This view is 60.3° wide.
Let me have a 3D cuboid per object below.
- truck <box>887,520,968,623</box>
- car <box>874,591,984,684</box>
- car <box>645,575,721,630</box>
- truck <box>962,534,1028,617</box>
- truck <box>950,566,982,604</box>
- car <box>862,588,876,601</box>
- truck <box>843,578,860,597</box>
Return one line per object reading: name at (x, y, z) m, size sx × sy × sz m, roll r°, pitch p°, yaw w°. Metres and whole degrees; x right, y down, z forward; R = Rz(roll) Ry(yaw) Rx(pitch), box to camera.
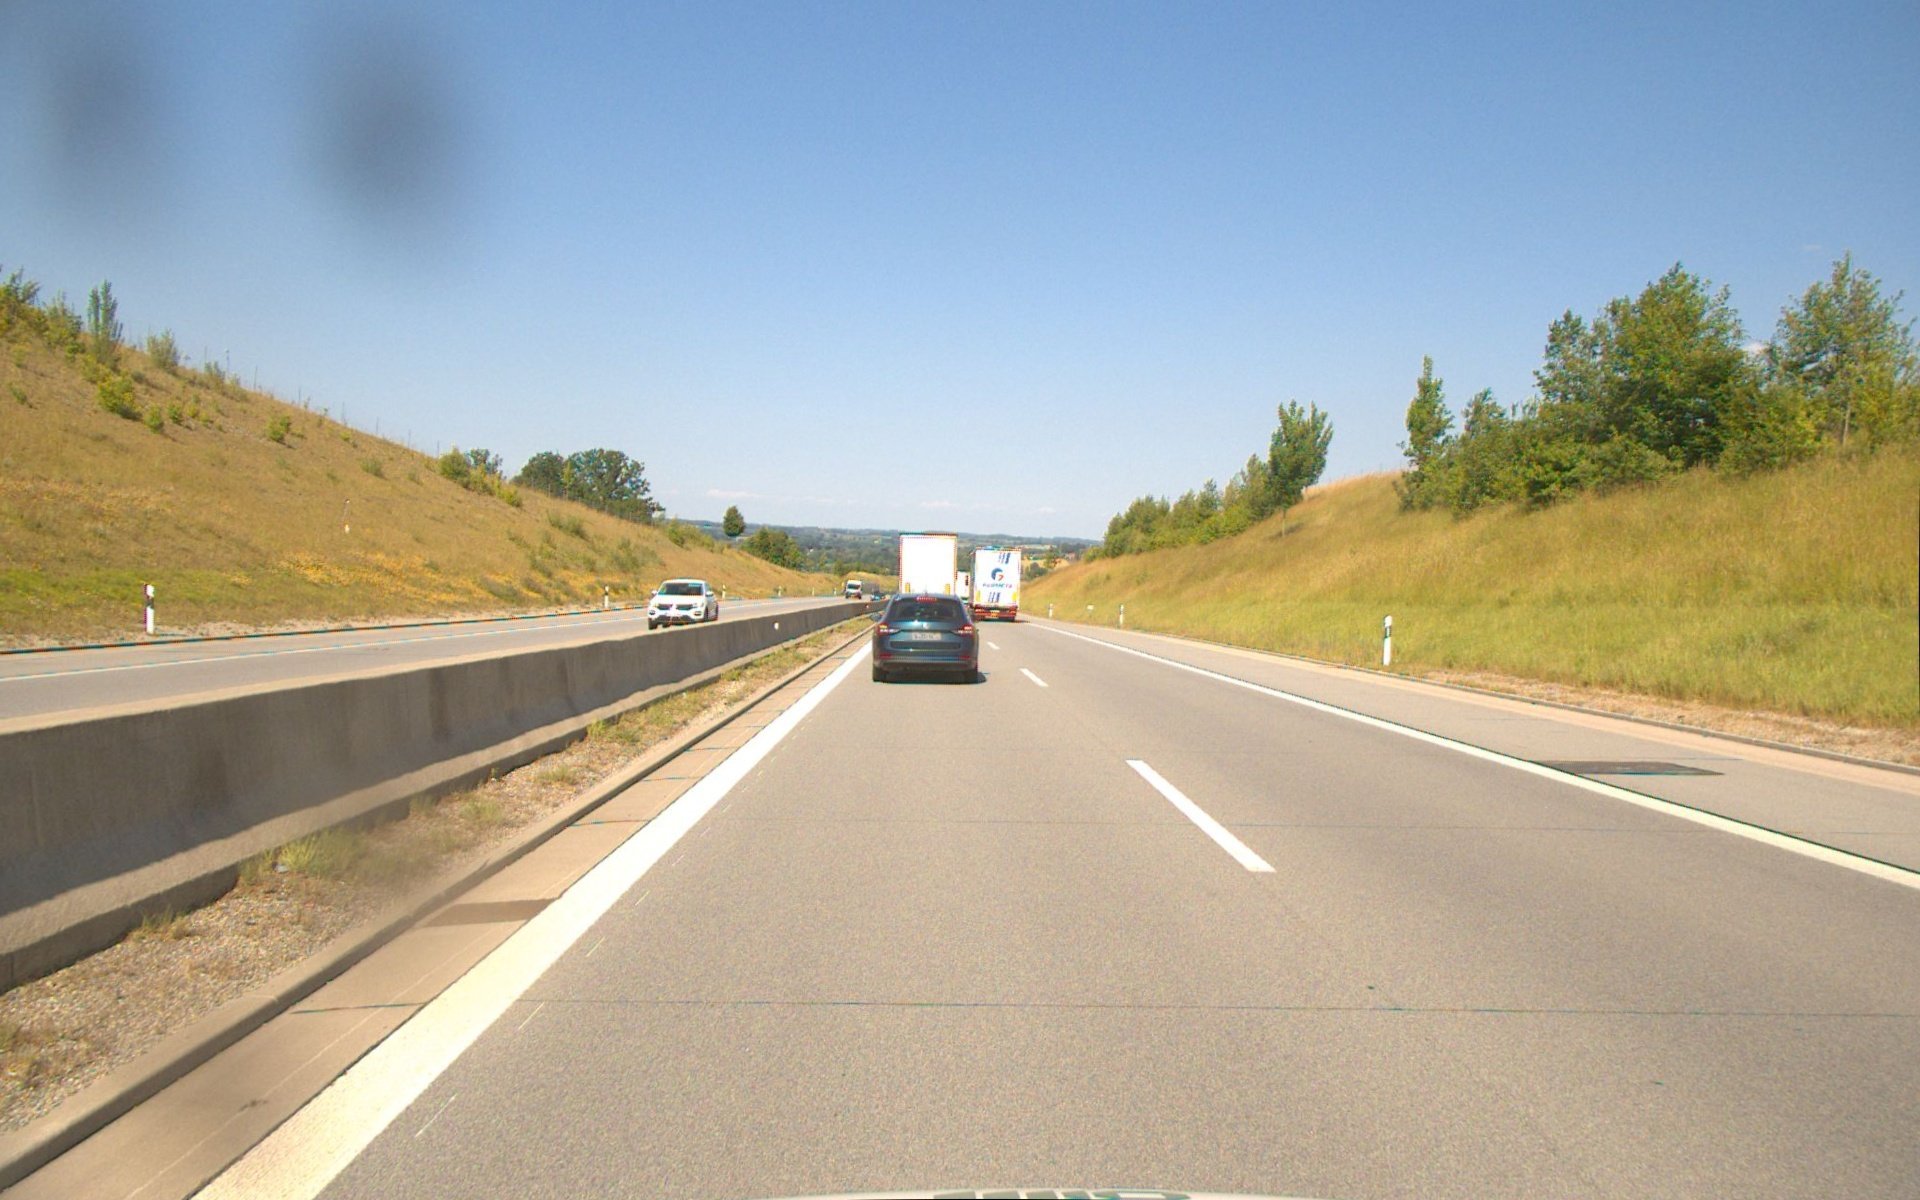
truck at (-1.387, -1.308, 78.254) m, size 3.144 × 4.458 × 11.236 m, roll 1°, pitch 0°, yaw 2°
car at (-0.557, 0.586, 28.266) m, size 1.741 × 1.466 × 3.787 m, roll 0°, pitch 0°, yaw -2°
car at (-8.661, 0.062, 51.967) m, size 1.739 × 1.629 × 4.038 m, roll 1°, pitch 0°, yaw -1°
truck at (2.073, -1.384, 96.556) m, size 3.530 × 4.458 × 11.236 m, roll 1°, pitch 0°, yaw 2°
truck at (0.742, -1.840, 200.796) m, size 3.530 × 4.458 × 11.236 m, roll 1°, pitch 0°, yaw 2°
car at (-11.289, -0.690, 205.265) m, size 1.738 × 1.474 × 4.181 m, roll 2°, pitch 0°, yaw -3°
truck at (-14.824, -1.659, 226.258) m, size 1.953 × 2.491 × 5.666 m, roll 3°, pitch 0°, yaw -2°
